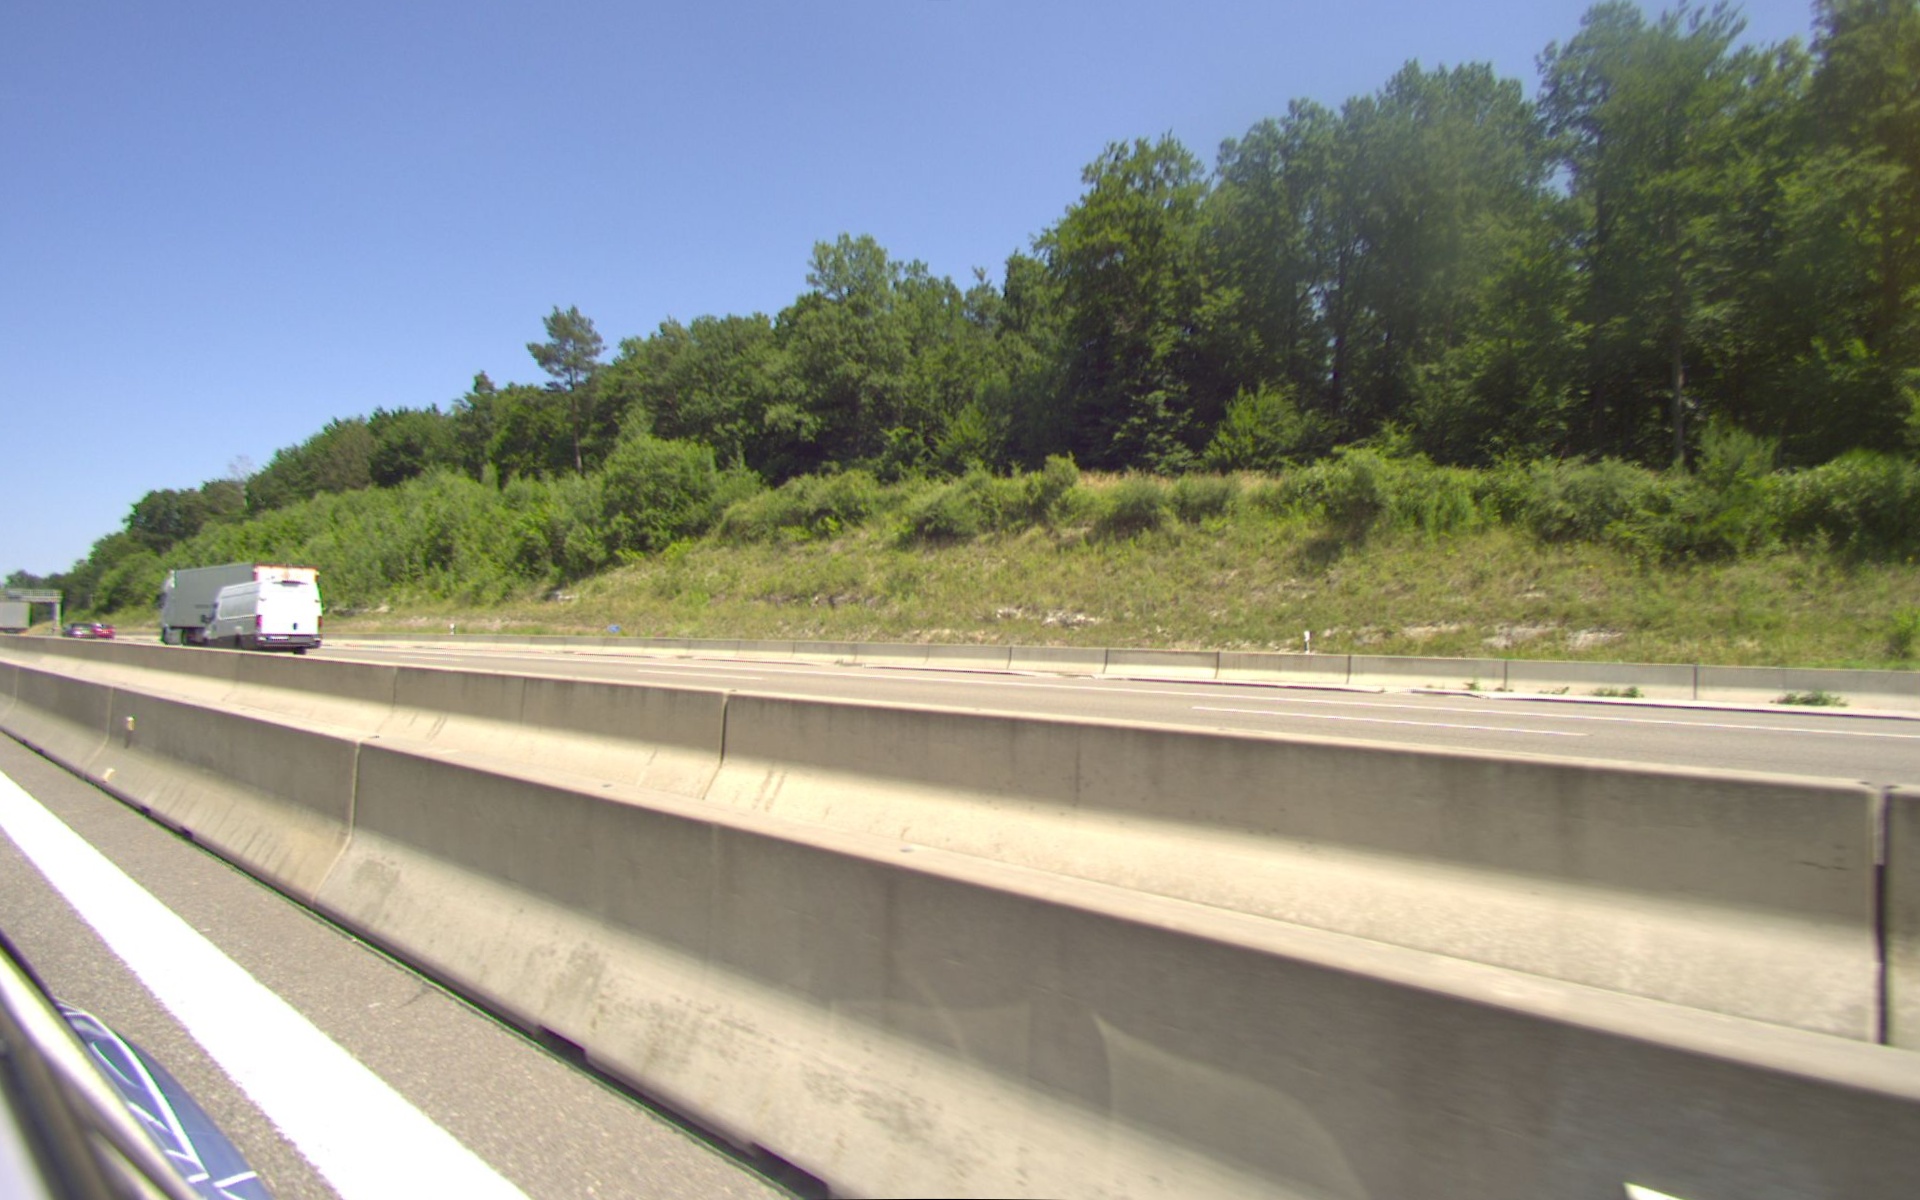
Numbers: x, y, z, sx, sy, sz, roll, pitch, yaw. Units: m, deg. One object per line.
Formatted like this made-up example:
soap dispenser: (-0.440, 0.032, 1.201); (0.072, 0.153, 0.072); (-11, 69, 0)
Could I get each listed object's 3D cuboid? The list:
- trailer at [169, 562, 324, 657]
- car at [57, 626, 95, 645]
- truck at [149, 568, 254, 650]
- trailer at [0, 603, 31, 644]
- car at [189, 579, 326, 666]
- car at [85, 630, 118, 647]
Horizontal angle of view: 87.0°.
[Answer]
trailer: (-35.246, 0.532, 49.632); (13.830, 4.115, 2.895); (-1, -2, 41)
car: (-69.268, 2.750, 79.271); (4.437, 1.418, 1.650); (-1, -2, 41)
truck: (-40.802, 0.507, 54.358); (7.784, 4.100, 2.865); (-1, -1, 41)
trailer: (-105.564, 2.644, 111.561); (13.834, 4.286, 3.068); (-2, -3, 41)
car: (-25.031, 0.785, 35.913); (7.597, 2.821, 2.064); (-1, -2, 40)
car: (-82.552, 3.698, 97.347); (3.717, 1.512, 1.851); (-2, -2, 41)
